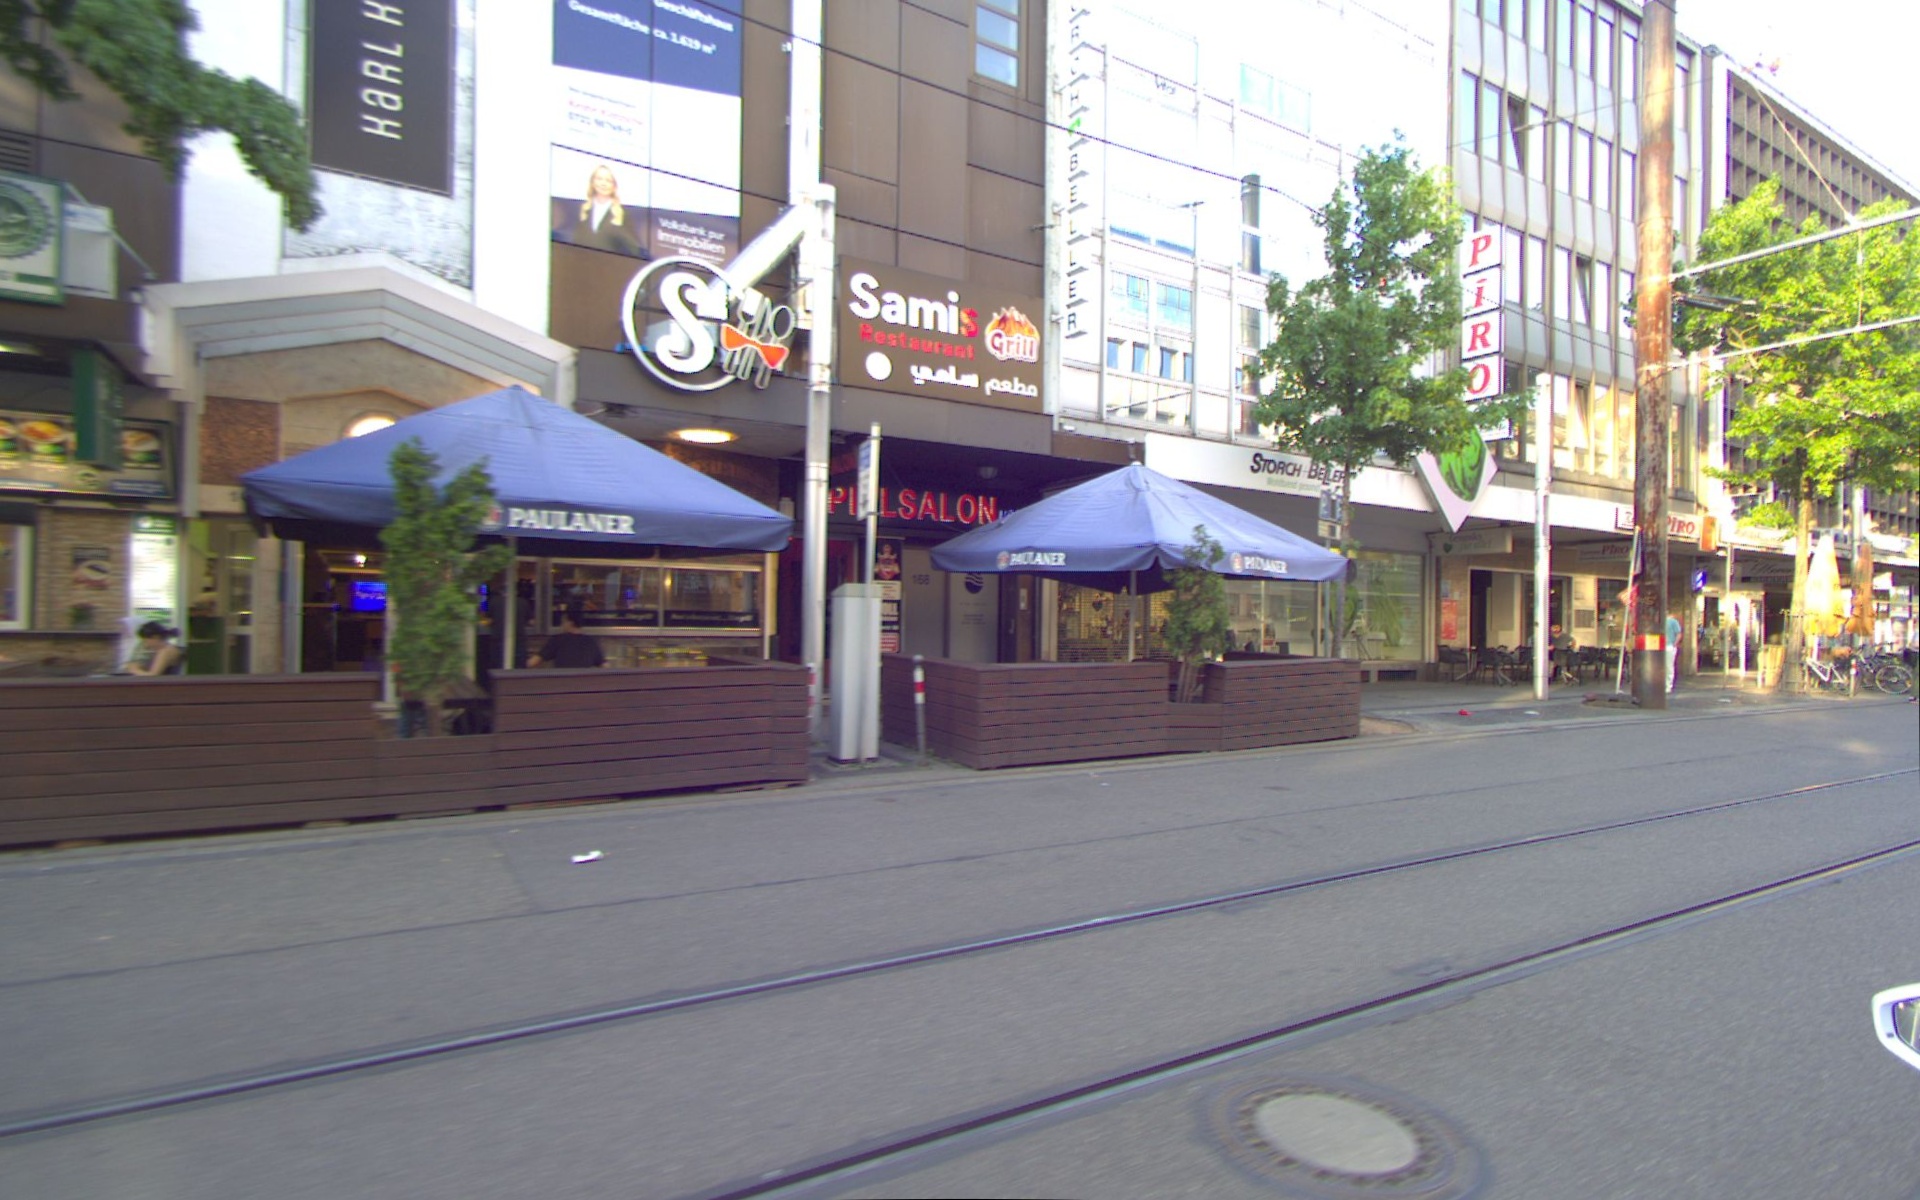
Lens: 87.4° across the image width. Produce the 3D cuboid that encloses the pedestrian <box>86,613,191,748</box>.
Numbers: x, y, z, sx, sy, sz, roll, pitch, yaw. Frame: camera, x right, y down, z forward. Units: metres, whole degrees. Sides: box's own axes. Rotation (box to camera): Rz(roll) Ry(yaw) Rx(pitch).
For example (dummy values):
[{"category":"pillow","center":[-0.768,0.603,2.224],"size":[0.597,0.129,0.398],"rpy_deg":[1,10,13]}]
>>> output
[{"category":"pedestrian","center":[-7.662,0.729,9.395],"size":[0.658,1.172,0.637],"rpy_deg":[2,1,-33]}]

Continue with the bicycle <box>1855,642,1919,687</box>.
[{"category":"bicycle","center":[25.183,1.725,26.885],"size":[0.485,1.085,1.759],"rpy_deg":[1,1,-36]}]

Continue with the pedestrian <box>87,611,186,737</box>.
[{"category":"pedestrian","center":[-8.190,0.721,10.016],"size":[0.658,1.172,0.637],"rpy_deg":[2,1,-33]}]

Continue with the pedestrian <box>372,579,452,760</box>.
[{"category":"pedestrian","center":[-5.042,0.613,9.232],"size":[0.559,1.573,0.652],"rpy_deg":[2,1,-33]}]

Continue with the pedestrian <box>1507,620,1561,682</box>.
[{"category":"pedestrian","center":[13.042,1.160,22.818],"size":[0.902,1.343,0.666],"rpy_deg":[2,1,-33]}]

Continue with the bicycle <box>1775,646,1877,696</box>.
[{"category":"bicycle","center":[19.687,1.594,22.886],"size":[0.481,0.978,1.772],"rpy_deg":[2,1,-14]}]

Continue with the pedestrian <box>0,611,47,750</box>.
[{"category":"pedestrian","center":[-8.582,0.698,8.864],"size":[0.658,1.172,0.637],"rpy_deg":[2,1,-33]}]

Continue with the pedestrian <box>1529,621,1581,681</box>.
[{"category":"pedestrian","center":[13.969,1.189,23.570],"size":[0.902,1.343,0.666],"rpy_deg":[2,1,-33]}]

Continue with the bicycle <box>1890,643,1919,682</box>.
[{"category":"bicycle","center":[27.671,1.812,28.515],"size":[0.485,1.085,1.759],"rpy_deg":[1,1,-36]}]

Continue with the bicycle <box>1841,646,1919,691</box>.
[{"category":"bicycle","center":[23.476,1.717,25.359],"size":[0.485,1.003,1.759],"rpy_deg":[0,1,-36]}]

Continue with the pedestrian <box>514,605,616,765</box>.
[{"category":"pedestrian","center":[-3.787,0.789,9.615],"size":[0.738,1.420,0.760],"rpy_deg":[2,1,-32]}]

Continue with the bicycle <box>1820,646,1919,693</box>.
[{"category":"bicycle","center":[22.287,1.676,24.629],"size":[0.485,1.003,1.759],"rpy_deg":[0,1,-36]}]

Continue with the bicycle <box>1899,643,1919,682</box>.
[{"category":"bicycle","center":[28.224,1.831,28.848],"size":[0.485,1.085,1.759],"rpy_deg":[1,1,-36]}]

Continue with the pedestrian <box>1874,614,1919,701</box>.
[{"category":"pedestrian","center":[20.290,1.227,21.473],"size":[0.806,1.816,0.990],"rpy_deg":[1,-1,22]}]

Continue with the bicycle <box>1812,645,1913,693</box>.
[{"category":"bicycle","center":[21.848,1.661,24.346],"size":[0.485,1.003,1.759],"rpy_deg":[0,1,-36]}]

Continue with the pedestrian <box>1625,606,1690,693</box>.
[{"category":"pedestrian","center":[15.046,1.056,21.665],"size":[0.977,1.816,0.682],"rpy_deg":[2,1,-26]}]

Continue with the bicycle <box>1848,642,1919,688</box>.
[{"category":"bicycle","center":[24.709,1.708,26.567],"size":[0.485,1.085,1.759],"rpy_deg":[1,1,-36]}]

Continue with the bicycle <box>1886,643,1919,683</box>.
[{"category":"bicycle","center":[27.241,1.796,28.184],"size":[0.485,1.085,1.759],"rpy_deg":[1,1,-36]}]

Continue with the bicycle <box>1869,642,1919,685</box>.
[{"category":"bicycle","center":[26.200,1.761,27.576],"size":[0.485,1.085,1.759],"rpy_deg":[1,1,-36]}]
